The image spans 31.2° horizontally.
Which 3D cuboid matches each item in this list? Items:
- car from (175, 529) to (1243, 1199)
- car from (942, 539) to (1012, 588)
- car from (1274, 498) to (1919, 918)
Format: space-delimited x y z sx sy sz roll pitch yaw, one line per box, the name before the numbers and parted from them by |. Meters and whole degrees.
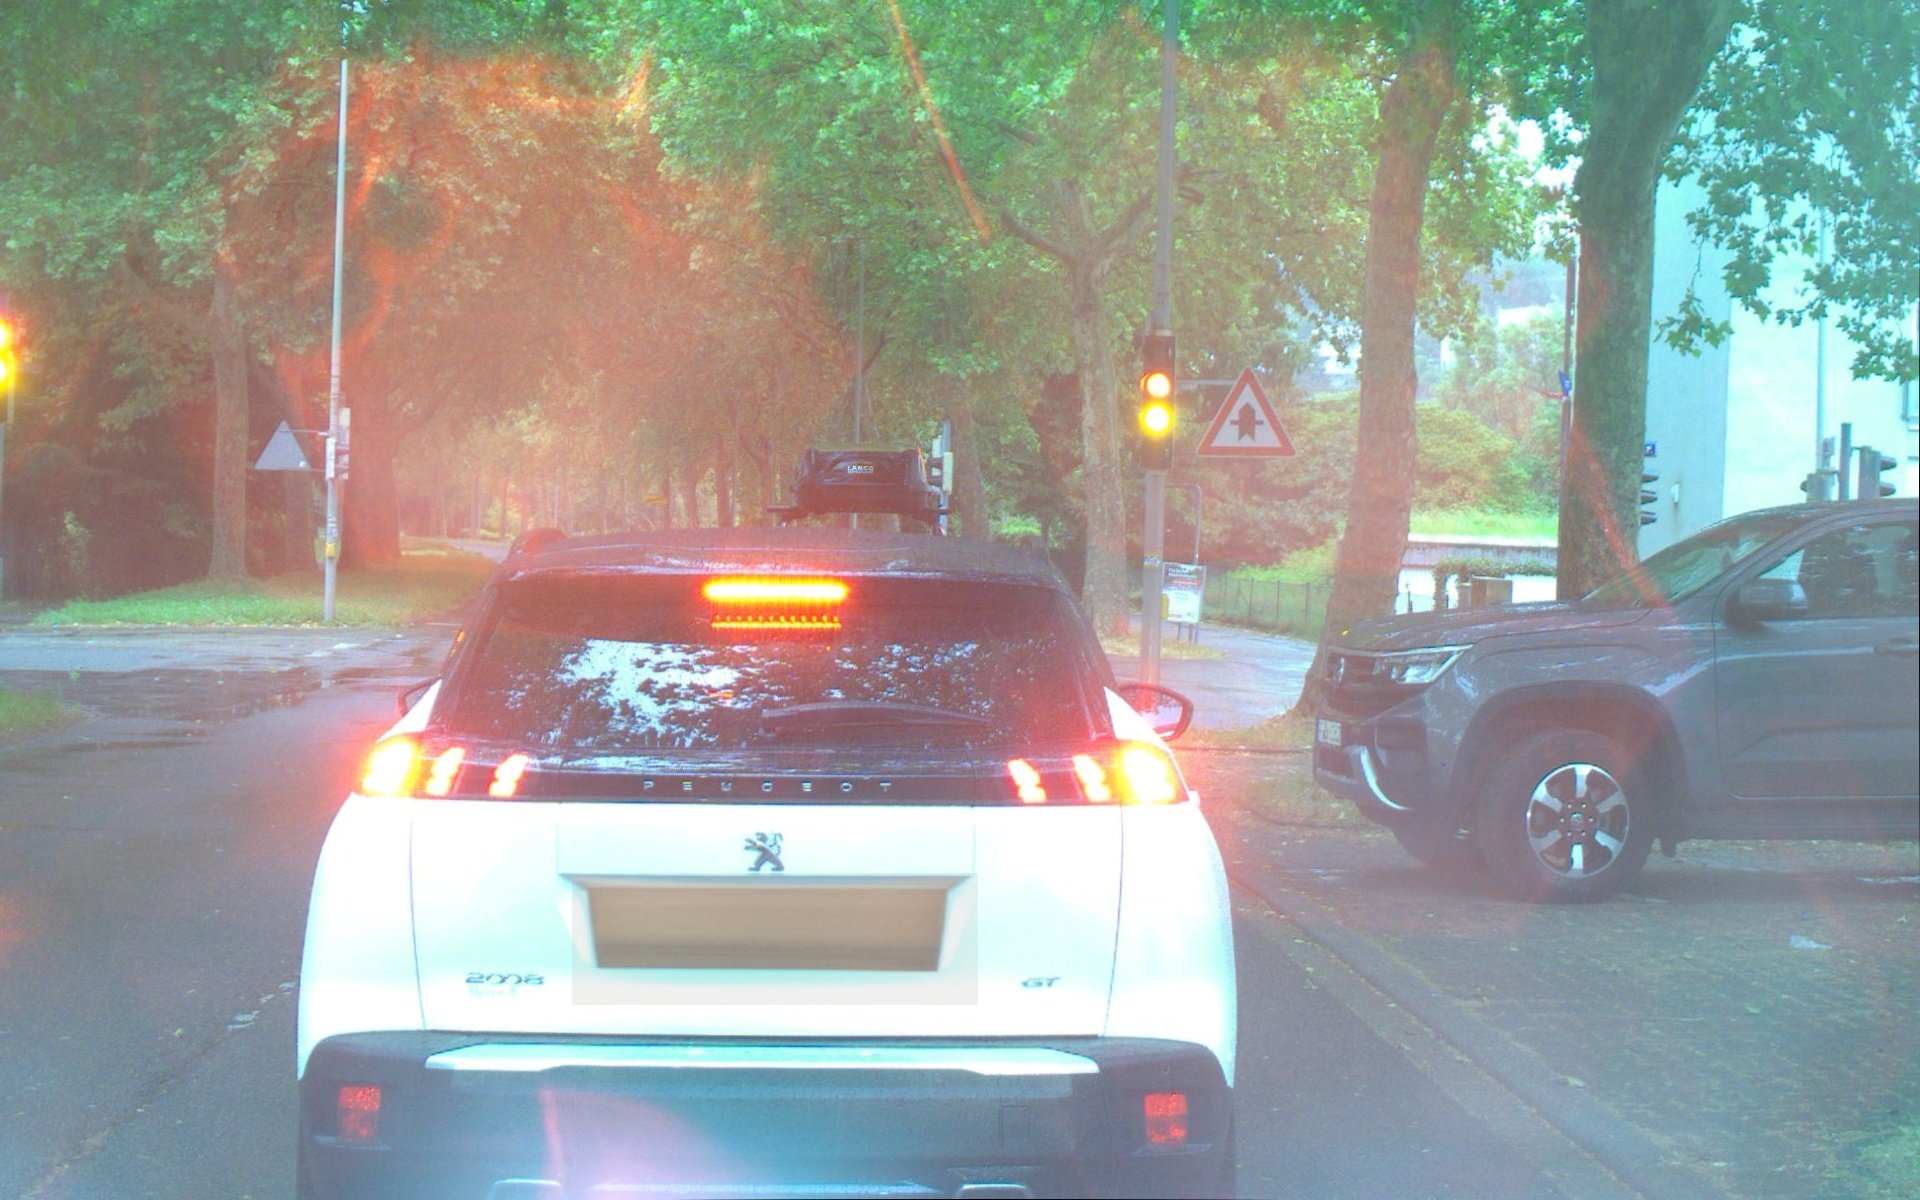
car | -0.464 0.624 7.833 1.780 1.531 4.058 1 1 -1
car | 0.547 -1.211 111.743 1.905 1.504 3.932 2 1 -5
car | 4.278 0.444 15.956 5.337 1.800 1.846 0 1 -7
